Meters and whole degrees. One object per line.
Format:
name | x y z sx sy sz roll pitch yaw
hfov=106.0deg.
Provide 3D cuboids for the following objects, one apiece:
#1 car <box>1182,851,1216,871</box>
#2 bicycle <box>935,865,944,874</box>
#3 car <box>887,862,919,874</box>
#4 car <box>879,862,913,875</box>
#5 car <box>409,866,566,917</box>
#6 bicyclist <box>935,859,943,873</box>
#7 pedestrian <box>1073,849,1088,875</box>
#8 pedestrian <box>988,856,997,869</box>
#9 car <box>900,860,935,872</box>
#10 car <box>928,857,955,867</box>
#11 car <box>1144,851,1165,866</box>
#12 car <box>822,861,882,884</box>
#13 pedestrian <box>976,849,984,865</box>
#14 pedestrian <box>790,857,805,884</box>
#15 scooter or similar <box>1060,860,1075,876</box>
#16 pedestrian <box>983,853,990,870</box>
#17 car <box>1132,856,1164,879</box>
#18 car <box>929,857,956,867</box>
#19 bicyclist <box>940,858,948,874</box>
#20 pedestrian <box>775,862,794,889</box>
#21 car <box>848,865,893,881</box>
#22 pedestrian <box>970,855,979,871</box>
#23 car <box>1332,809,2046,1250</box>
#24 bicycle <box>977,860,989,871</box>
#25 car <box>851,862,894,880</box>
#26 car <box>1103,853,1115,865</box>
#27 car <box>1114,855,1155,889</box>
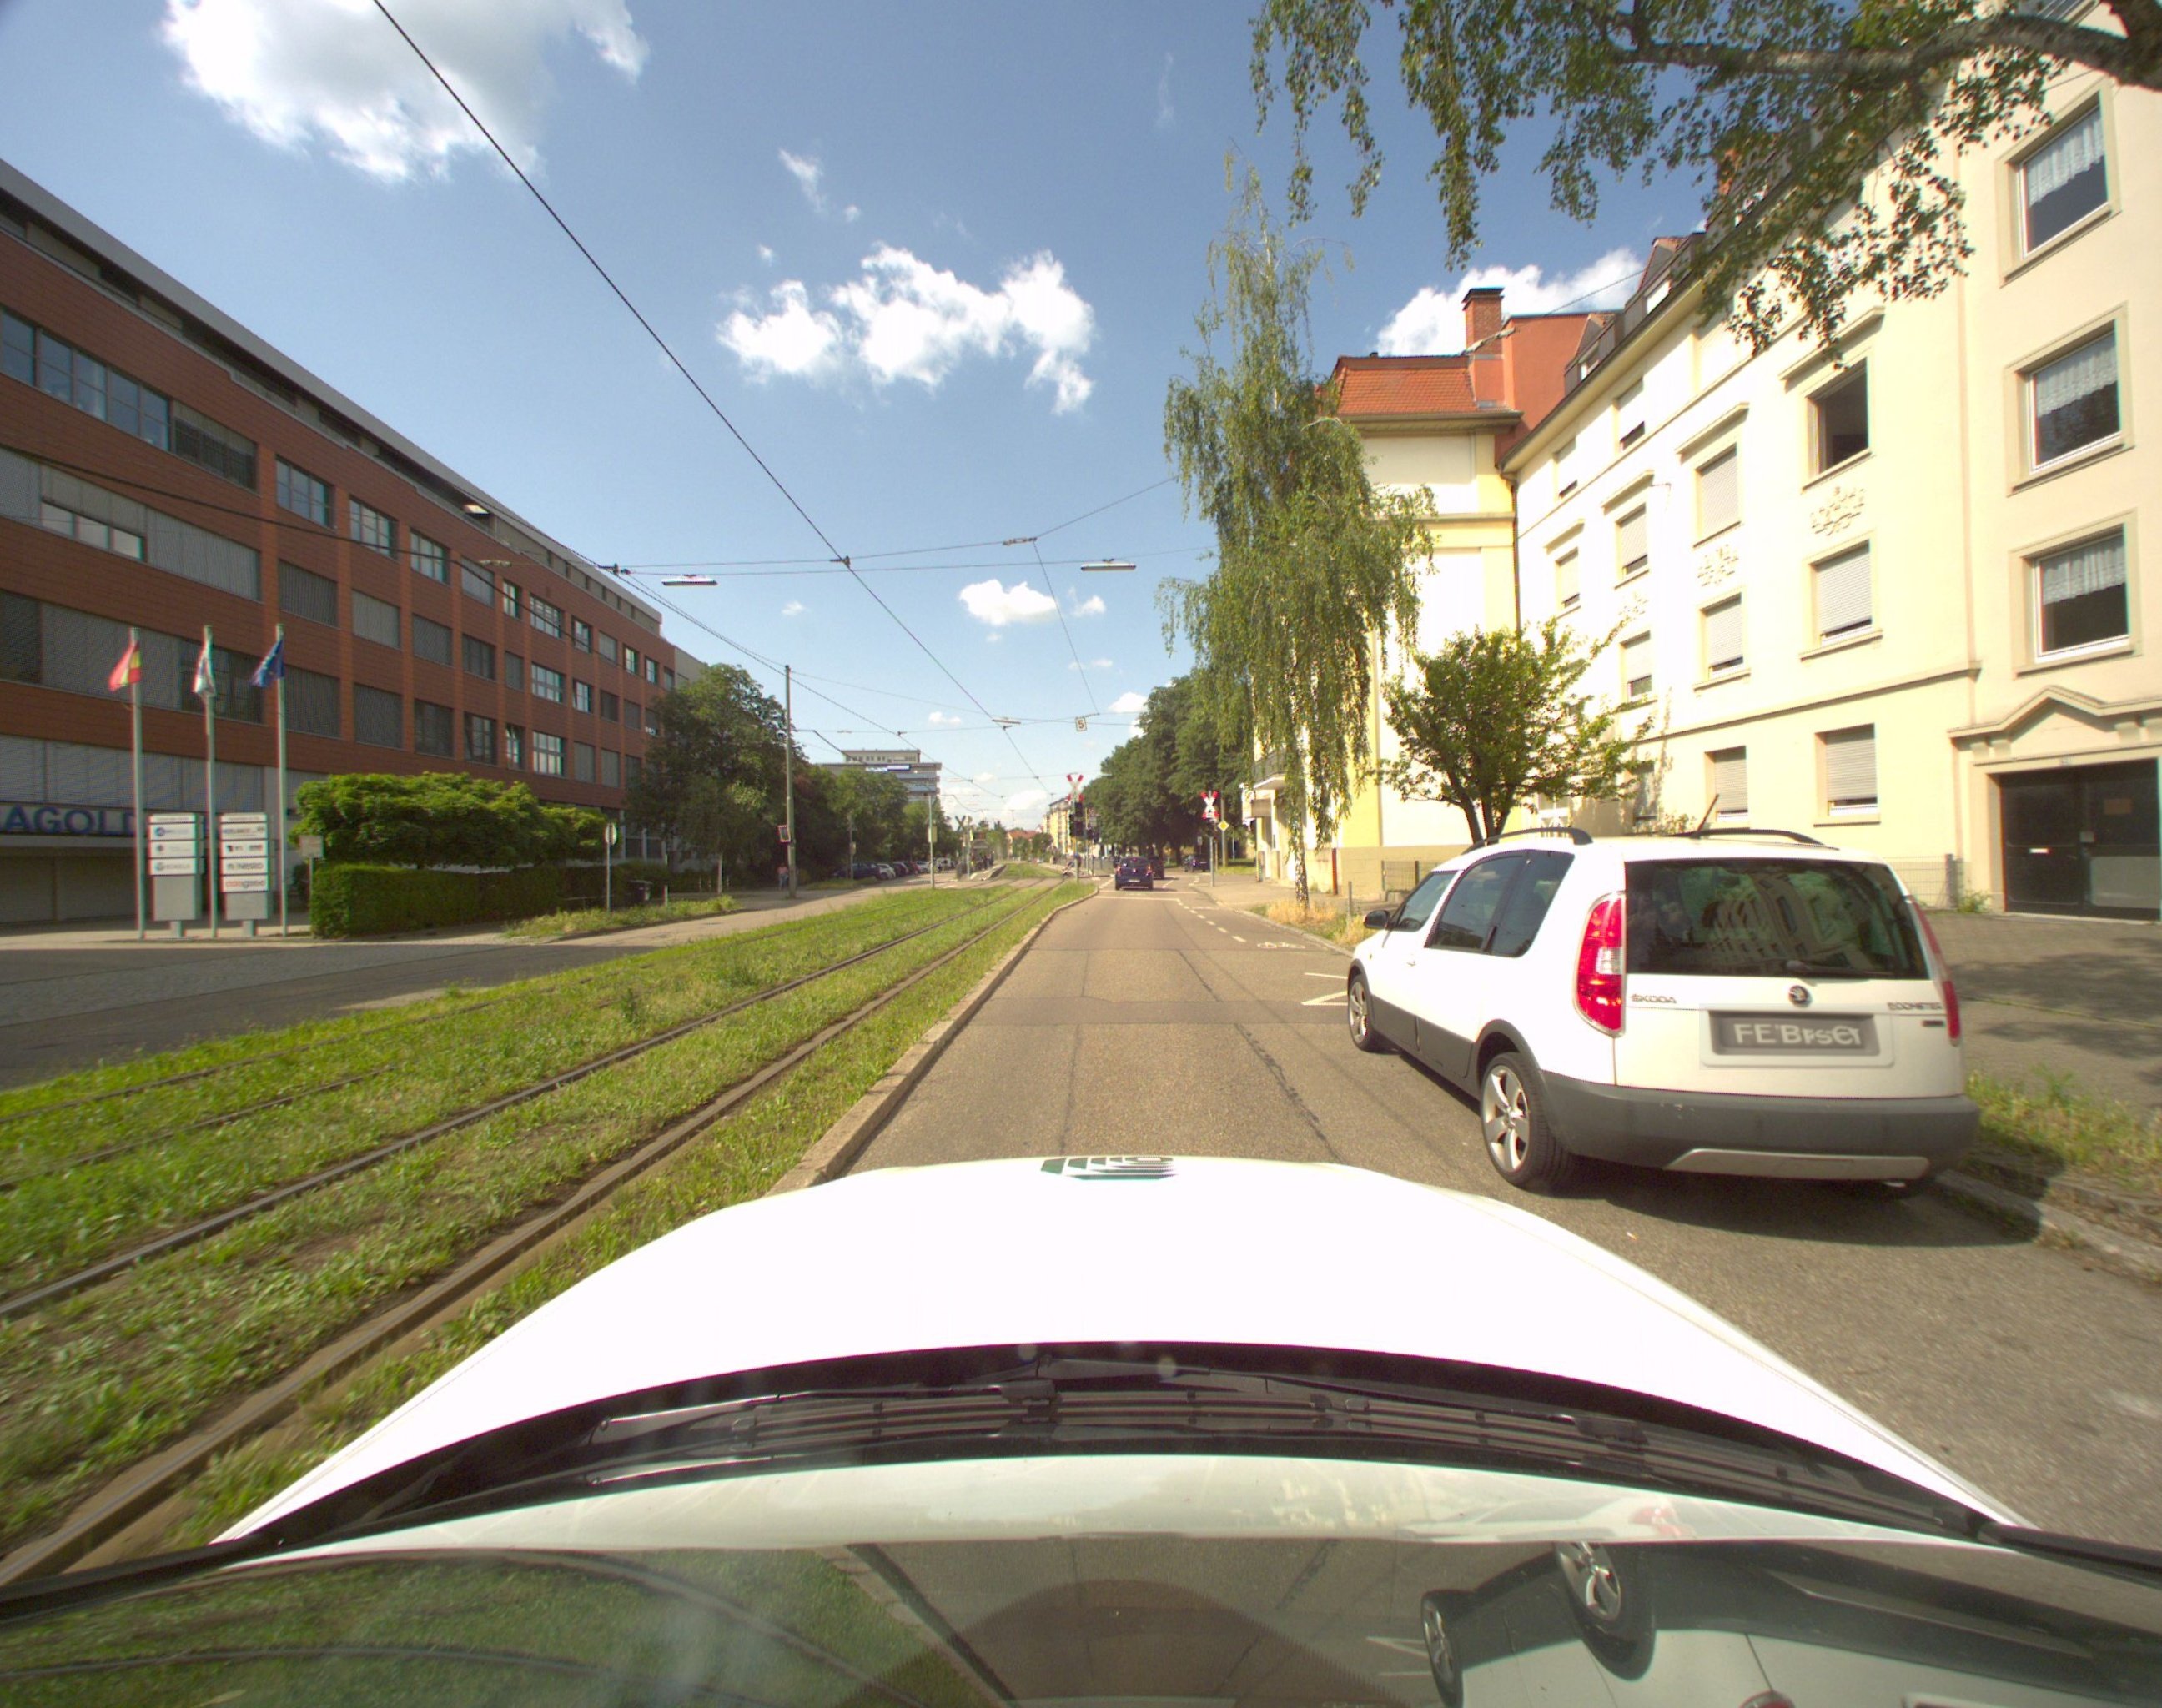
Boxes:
car | 9.244 0.538 64.081 1.762 1.433 3.897 -2 0 -5
bicycle | -17.022 1.821 97.758 0.678 0.971 2.178 -2 0 0
car | -20.267 1.601 92.802 1.437 1.309 3.267 -2 0 40
car | -19.622 1.528 86.589 1.437 1.309 3.267 -2 0 40
car | -20.810 1.280 28.678 3.976 1.596 1.999 -2 0 -2
bicyclist | -16.998 1.448 97.700 0.783 1.582 0.863 -2 0 -1
pedestrian | -0.022 0.573 56.867 0.869 1.775 1.002 -4 0 -4
pedestrian | -9.794 0.942 90.112 0.648 1.426 0.566 -3 0 33
car | -20.598 1.543 102.810 1.695 1.367 4.024 -3 0 45
car | -21.898 1.296 127.932 1.618 1.385 4.025 -2 0 41
car | 7.653 0.485 84.728 1.854 1.445 4.001 -3 0 1
car | -17.780 1.446 63.264 4.156 1.640 1.704 -2 0 -44
pedestrian | -10.467 0.299 84.391 0.653 1.692 0.655 -2 0 -4
pedestrian | -17.453 0.994 50.185 0.554 1.657 0.748 -2 -1 4
scooter or similar | -0.948 0.991 56.522 0.952 1.065 0.795 -2 0 -5
pedestrian | -10.393 0.825 89.361 0.601 1.766 0.640 -2 0 5
car | 4.101 0.794 50.128 1.694 1.368 3.515 0 0 0
car | -22.605 1.287 133.143 4.020 1.447 1.708 -2 0 -39
bicyclist | -17.657 1.592 105.073 0.948 2.014 1.569 -1 -1 -13
pedestrian | -17.465 1.272 47.981 0.742 1.574 0.890 -2 -2 4
car | -17.877 1.636 69.175 3.408 1.236 1.525 -2 0 -44
pedestrian | -10.143 0.859 77.774 0.661 1.569 0.686 -3 0 4
car | 2.904 0.655 5.090 1.713 1.629 4.005 1 0 4
bicycle | -9.317 1.110 77.665 0.682 0.974 1.774 -4 0 6
car | -18.492 1.478 72.267 3.407 1.505 1.526 -2 0 -42
car | 4.395 0.750 128.042 1.614 1.750 3.995 -2 0 -3
car | 2.425 0.794 37.271 1.760 1.462 3.778 0 0 3
